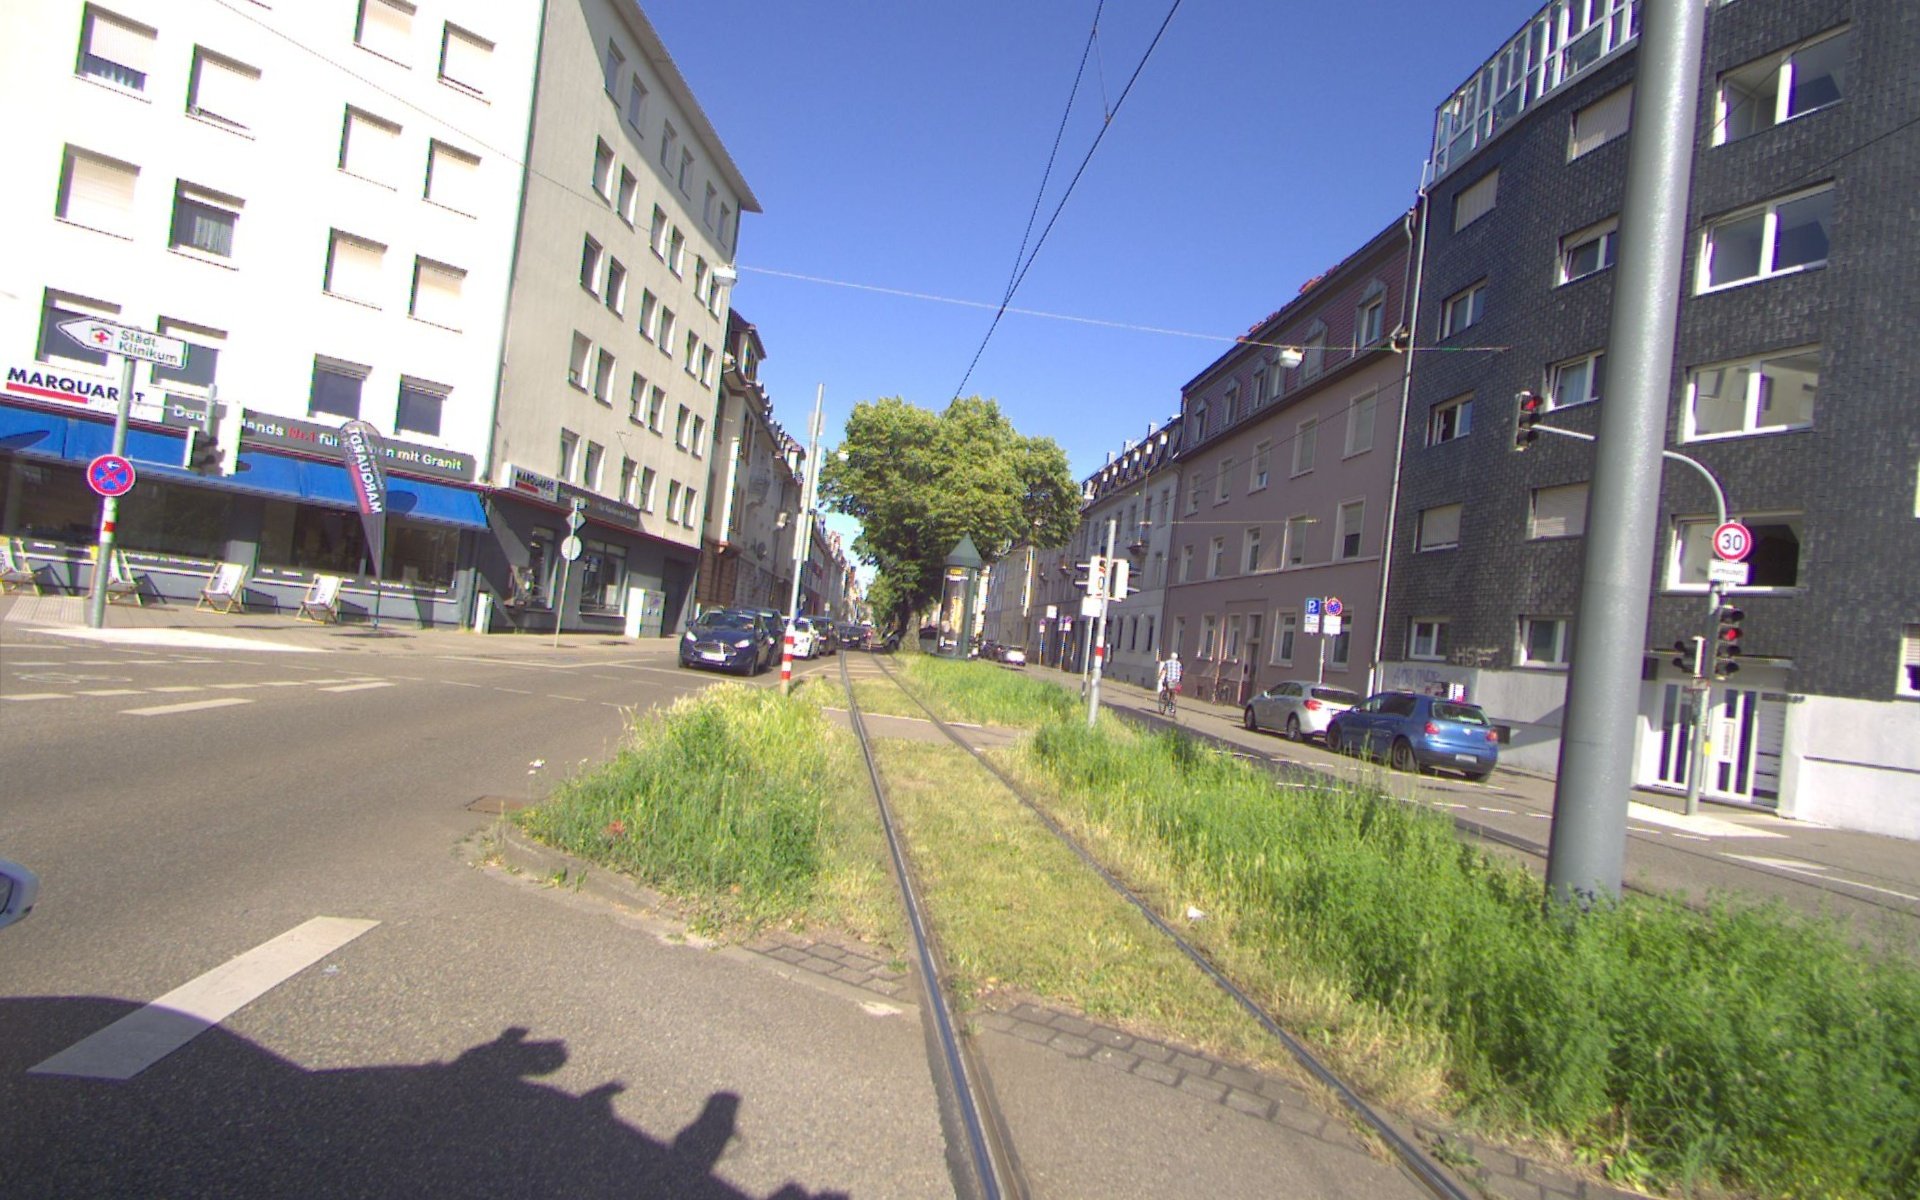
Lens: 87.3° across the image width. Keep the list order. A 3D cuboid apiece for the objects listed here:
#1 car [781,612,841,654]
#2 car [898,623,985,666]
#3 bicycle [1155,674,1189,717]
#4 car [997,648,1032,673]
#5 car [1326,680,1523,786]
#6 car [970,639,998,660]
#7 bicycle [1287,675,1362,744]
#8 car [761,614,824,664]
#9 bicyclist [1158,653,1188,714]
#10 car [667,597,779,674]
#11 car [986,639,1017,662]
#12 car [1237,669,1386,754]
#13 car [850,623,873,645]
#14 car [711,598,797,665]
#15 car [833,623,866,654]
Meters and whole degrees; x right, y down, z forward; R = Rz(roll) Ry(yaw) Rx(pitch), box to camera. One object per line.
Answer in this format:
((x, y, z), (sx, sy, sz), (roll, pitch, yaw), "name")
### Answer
((-6.322, 1.419, 43.045), (1.964, 1.490, 4.001), (7, -2, -3), "car")
((-0.944, 2.249, 50.895), (3.941, 1.612, 1.905), (6, -2, 38), "car")
((5.840, 2.610, 27.769), (0.578, 1.044, 1.859), (7, -2, 5), "bicycle")
((4.086, 4.583, 76.343), (1.964, 1.635, 4.003), (8, -4, -4), "car")
((8.959, 2.524, 19.770), (1.750, 1.459, 3.617), (8, -2, -6), "car")
((2.061, 4.313, 87.498), (1.907, 1.485, 3.999), (8, -2, -5), "car")
((9.567, 2.834, 26.531), (0.565, 1.528, 2.807), (7, -2, -5), "bicycle")
((-5.972, 1.386, 36.209), (1.764, 1.500, 3.532), (7, -2, -4), "car")
((5.874, 2.293, 27.772), (0.551, 1.577, 0.824), (7, -1, 4), "bicyclist")
((-5.336, 0.810, 23.074), (1.764, 1.411, 3.725), (7, -2, -4), "car")
((3.377, 4.141, 82.625), (1.907, 1.485, 3.998), (8, -2, -5), "car")
((8.491, 2.649, 24.687), (1.793, 1.525, 3.998), (7, -2, -5), "car")
((-9.382, 3.217, 95.677), (1.965, 1.770, 4.000), (7, -2, -5), "car")
((-5.832, 0.899, 28.914), (1.764, 1.583, 3.767), (7, -2, -4), "car")
((-7.490, 2.603, 68.298), (1.965, 1.770, 4.000), (7, -2, -5), "car")
